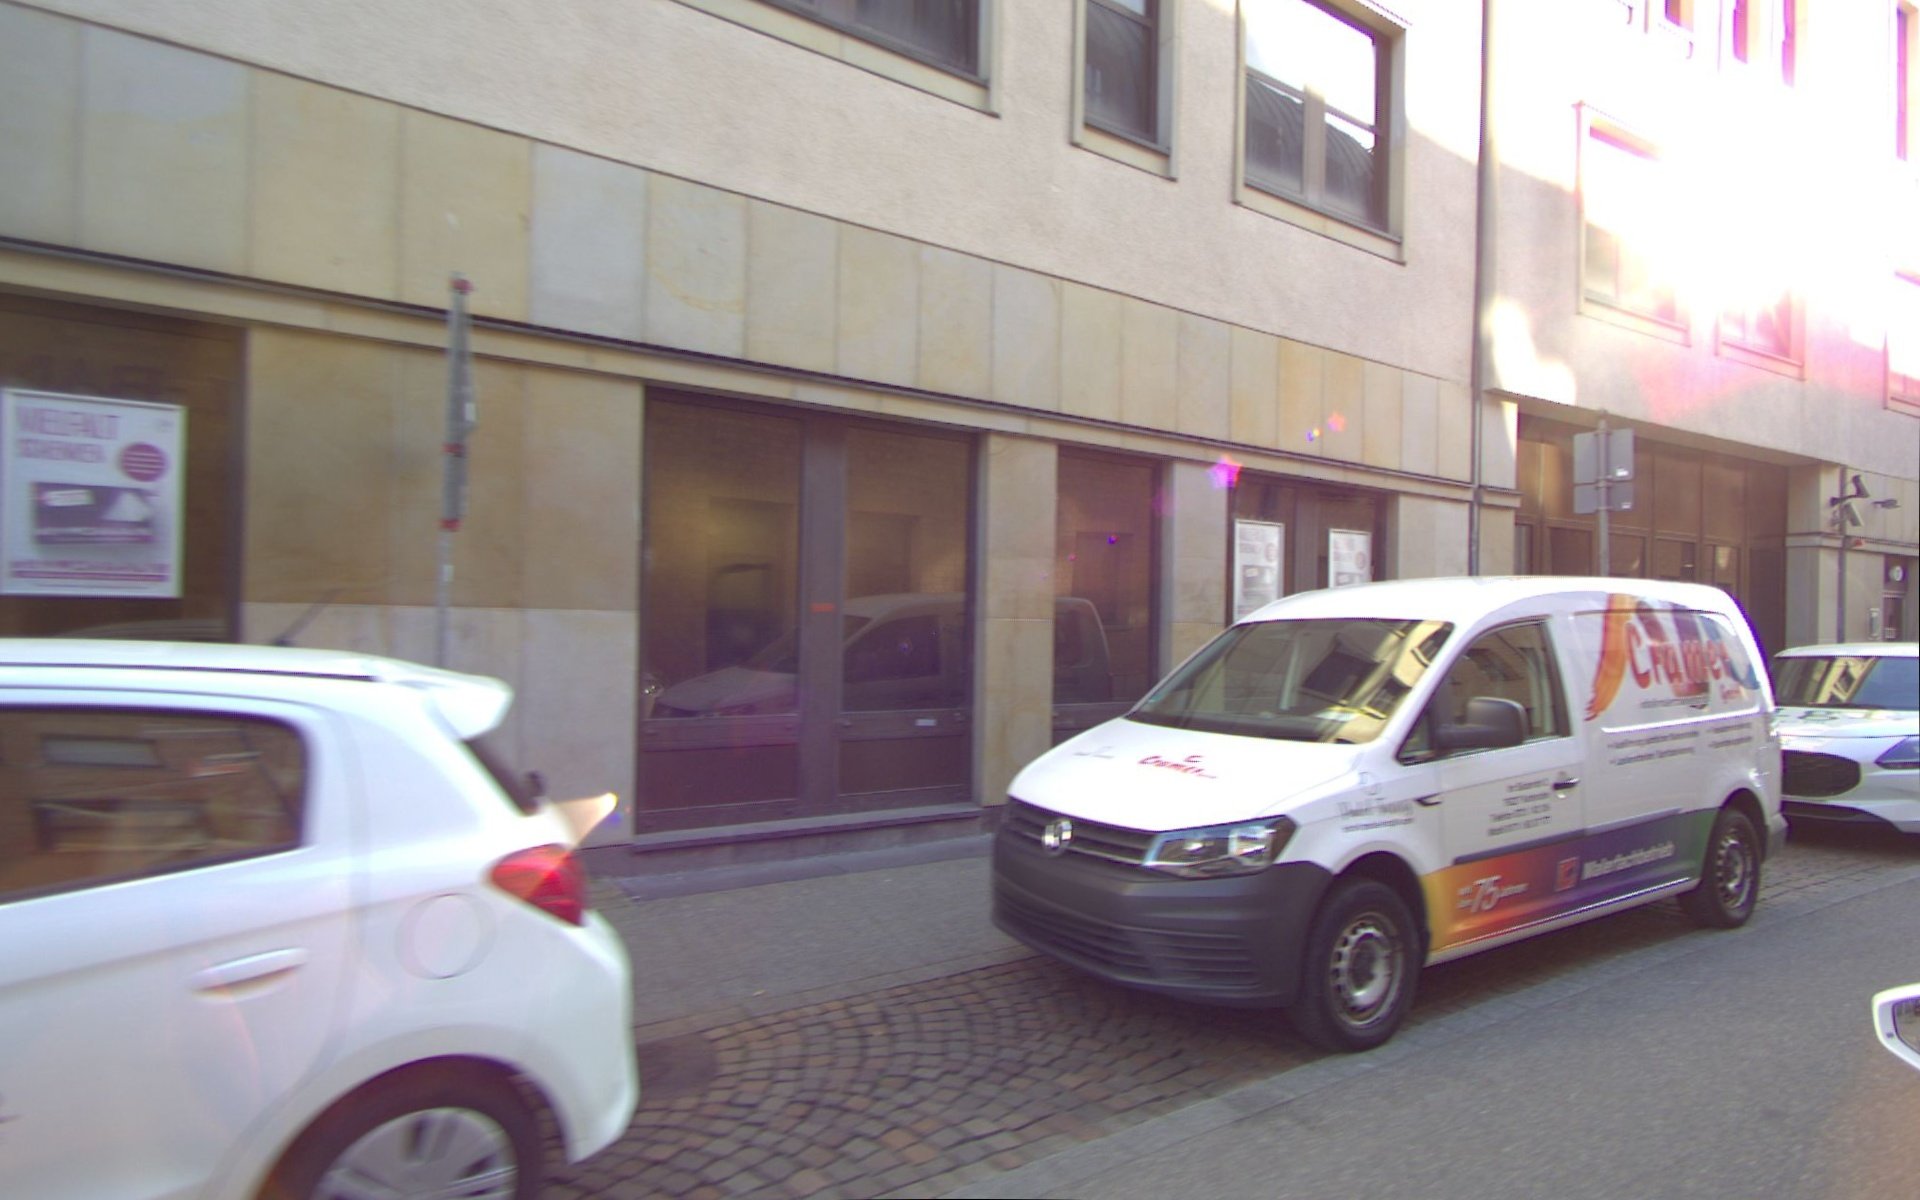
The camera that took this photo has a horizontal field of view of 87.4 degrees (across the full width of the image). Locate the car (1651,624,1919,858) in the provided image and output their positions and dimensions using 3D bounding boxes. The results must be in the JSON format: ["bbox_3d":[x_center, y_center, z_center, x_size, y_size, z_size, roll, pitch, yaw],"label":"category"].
[{"bbox_3d":[7.539,1.010,8.294,3.734,1.542,1.661,2,-3,-32],"label":"car"}]

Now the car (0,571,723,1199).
[{"bbox_3d":[-2.607,0.713,2.074,3.764,1.512,1.725,2,-2,-37],"label":"car"}]

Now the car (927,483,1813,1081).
[{"bbox_3d":[2.317,0.652,5.228,4.680,1.882,1.889,2,-2,-32],"label":"car"}]
